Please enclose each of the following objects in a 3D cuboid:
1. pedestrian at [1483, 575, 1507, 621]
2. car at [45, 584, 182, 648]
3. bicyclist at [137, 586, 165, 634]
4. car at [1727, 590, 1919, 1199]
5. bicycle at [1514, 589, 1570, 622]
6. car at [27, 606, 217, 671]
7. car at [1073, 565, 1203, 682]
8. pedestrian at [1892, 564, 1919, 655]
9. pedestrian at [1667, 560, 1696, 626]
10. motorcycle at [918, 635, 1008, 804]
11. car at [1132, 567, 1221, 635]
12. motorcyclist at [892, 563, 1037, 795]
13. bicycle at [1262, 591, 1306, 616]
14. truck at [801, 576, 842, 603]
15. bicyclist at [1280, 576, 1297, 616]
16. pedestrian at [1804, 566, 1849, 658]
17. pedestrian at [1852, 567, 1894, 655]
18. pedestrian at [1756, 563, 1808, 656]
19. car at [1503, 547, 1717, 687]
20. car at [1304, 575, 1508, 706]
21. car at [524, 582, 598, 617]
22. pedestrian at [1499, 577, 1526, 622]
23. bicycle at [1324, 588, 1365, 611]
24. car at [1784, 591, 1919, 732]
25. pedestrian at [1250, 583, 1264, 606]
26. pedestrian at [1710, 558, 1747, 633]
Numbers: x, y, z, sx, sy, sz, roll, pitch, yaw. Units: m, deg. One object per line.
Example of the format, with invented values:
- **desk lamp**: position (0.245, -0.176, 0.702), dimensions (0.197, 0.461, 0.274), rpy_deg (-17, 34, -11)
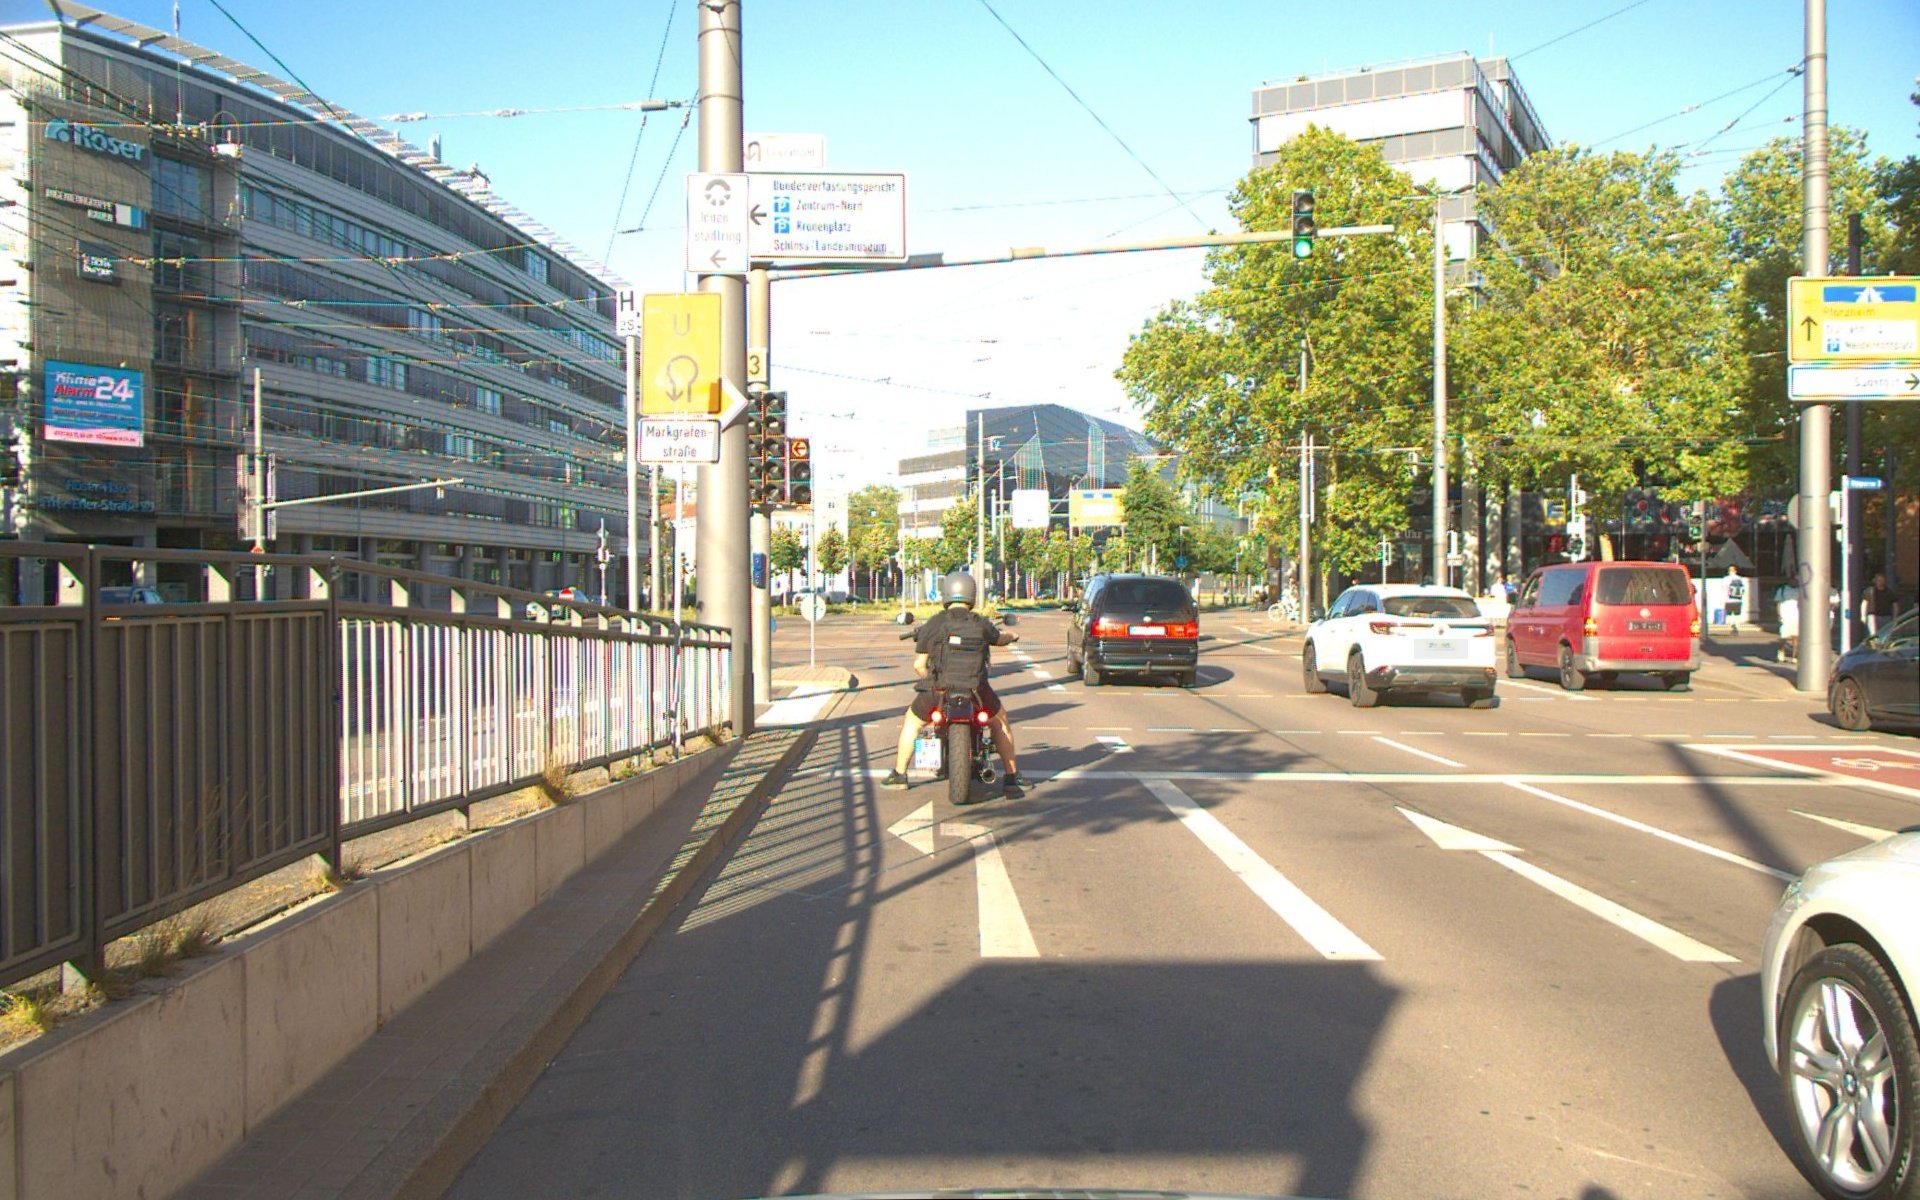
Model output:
- **pedestrian**: position (17.998, -0.064, 55.647), dimensions (0.555, 1.559, 0.701), rpy_deg (1, -1, -4)
- **car**: position (-22.656, 0.412, 44.455), dimensions (1.789, 1.596, 4.237), rpy_deg (-1, 0, -5)
- **bicyclist**: position (-26.889, 0.332, 55.001), dimensions (0.574, 1.560, 0.650), rpy_deg (1, -1, -1)
- **car**: position (3.056, 0.728, 2.489), dimensions (1.696, 1.482, 4.417), rpy_deg (1, 0, -1)
- **bicycle**: position (22.424, 0.207, 63.714), dimensions (2.001, 1.235, 0.421), rpy_deg (1, -1, -1)
- **car**: position (-14.635, 0.677, 29.018), dimensions (2.835, 1.081, 1.235), rpy_deg (1, 0, -22)
- **car**: position (2.777, 0.362, 26.541), dimensions (1.766, 1.708, 4.042), rpy_deg (1, 0, 2)
- **pedestrian**: position (19.346, 0.187, 33.507), dimensions (0.723, 1.823, 0.510), rpy_deg (0, -1, 39)
- **pedestrian**: position (19.132, -0.171, 43.876), dimensions (0.626, 1.729, 0.723), rpy_deg (1, -1, 19)
- **motorcycle**: position (0.005, 0.829, 12.245), dimensions (0.588, 1.054, 2.233), rpy_deg (1, 1, -1)
- **car**: position (5.825, 0.032, 44.856), dimensions (1.767, 1.708, 4.039), rpy_deg (1, 0, -2)
- **motorcyclist**: position (0.025, 0.550, 12.021), dimensions (1.009, 1.621, 0.873), rpy_deg (0, 0, -1)
- **bicycle**: position (14.121, 0.146, 72.163), dimensions (1.831, 1.062, 0.537), rpy_deg (0, -1, 18)
- **truck**: position (-10.697, -0.805, 128.185), dimensions (1.951, 1.912, 5.160), rpy_deg (-3, -1, 9)
- **bicyclist**: position (14.299, -0.175, 72.040), dimensions (0.673, 1.702, 0.541), rpy_deg (0, -1, 18)
- **pedestrian**: position (17.233, 0.236, 32.909), dimensions (0.580, 1.811, 0.682), rpy_deg (-1, -1, 11)
- **pedestrian**: position (18.663, 0.221, 33.821), dimensions (0.611, 1.759, 0.630), rpy_deg (1, -1, 16)
- **pedestrian**: position (16.533, 0.193, 33.266), dimensions (0.581, 1.811, 0.681), rpy_deg (-3, -1, -3)
- **car**: position (10.398, 0.265, 26.830), dimensions (1.766, 2.044, 4.473), rpy_deg (-1, 0, 1)
- **car**: position (6.061, 0.518, 22.940), dimensions (1.696, 1.626, 4.040), rpy_deg (1, 0, -1)
- **car**: position (-19.433, -0.023, 80.680), dimensions (1.786, 1.596, 4.698), rpy_deg (-1, 0, 9)
- **pedestrian**: position (18.626, -0.026, 55.772), dimensions (0.556, 1.505, 0.699), rpy_deg (1, -1, -15)
- **bicycle**: position (18.020, -0.031, 77.489), dimensions (1.842, 1.064, 0.360), rpy_deg (1, 0, -2)
- **car**: position (10.864, 0.655, 17.841), dimensions (1.698, 1.475, 4.037), rpy_deg (1, 0, -5)
- **pedestrian**: position (17.556, -0.317, 97.746), dimensions (0.802, 1.337, 0.638), rpy_deg (1, -1, 8)
- **pedestrian**: position (20.130, -0.118, 43.309), dimensions (0.774, 1.931, 0.817), rpy_deg (1, -1, 19)
